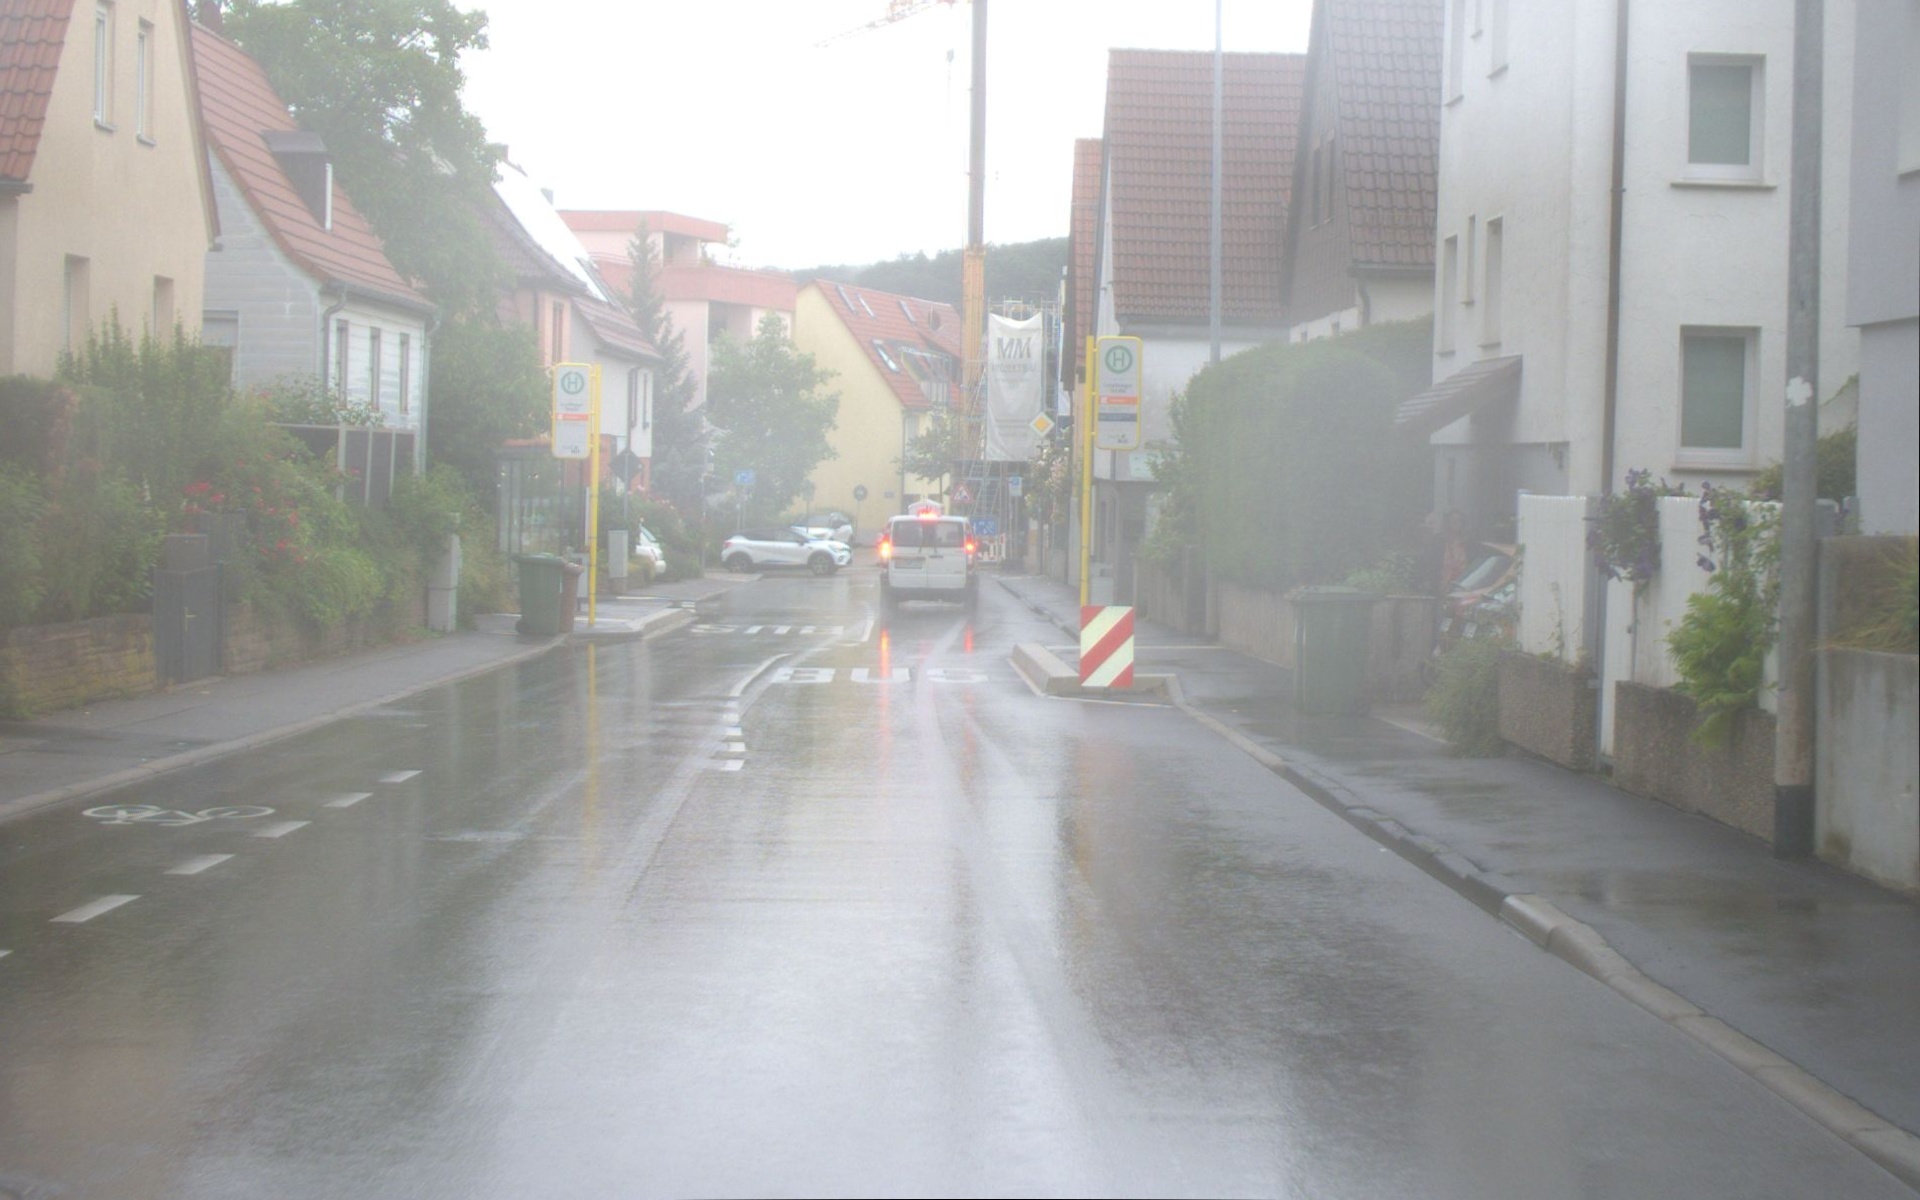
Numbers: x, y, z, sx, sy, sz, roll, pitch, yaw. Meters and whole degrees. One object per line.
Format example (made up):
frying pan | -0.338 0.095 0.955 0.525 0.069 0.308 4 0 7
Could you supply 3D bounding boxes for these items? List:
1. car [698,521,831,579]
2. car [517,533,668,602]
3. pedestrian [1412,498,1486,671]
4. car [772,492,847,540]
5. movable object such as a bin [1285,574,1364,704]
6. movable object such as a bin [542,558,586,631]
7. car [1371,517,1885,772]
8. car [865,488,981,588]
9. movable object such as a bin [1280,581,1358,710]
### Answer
car | -6.245 -1.611 109.990 3.988 1.788 1.804 1 0 6
car | -9.238 -0.831 86.587 3.545 1.524 1.663 3 1 1
pedestrian | 4.943 -0.164 34.746 0.628 1.720 0.619 1 1 0
car | -5.564 -3.139 127.670 1.601 1.672 3.936 3 3 15
movable object such as a bin | 3.083 0.326 29.114 0.567 1.073 0.538 1 1 -2
movable object such as a bin | -5.365 -0.073 46.603 0.468 0.935 0.454 5 3 2
car | 5.036 0.316 26.221 3.445 1.476 1.580 7 1 -1
car | -0.725 -1.196 67.225 2.181 1.863 4.000 1 1 -1
movable object such as a bin | 3.039 0.381 29.168 0.567 1.073 0.538 1 1 -2
